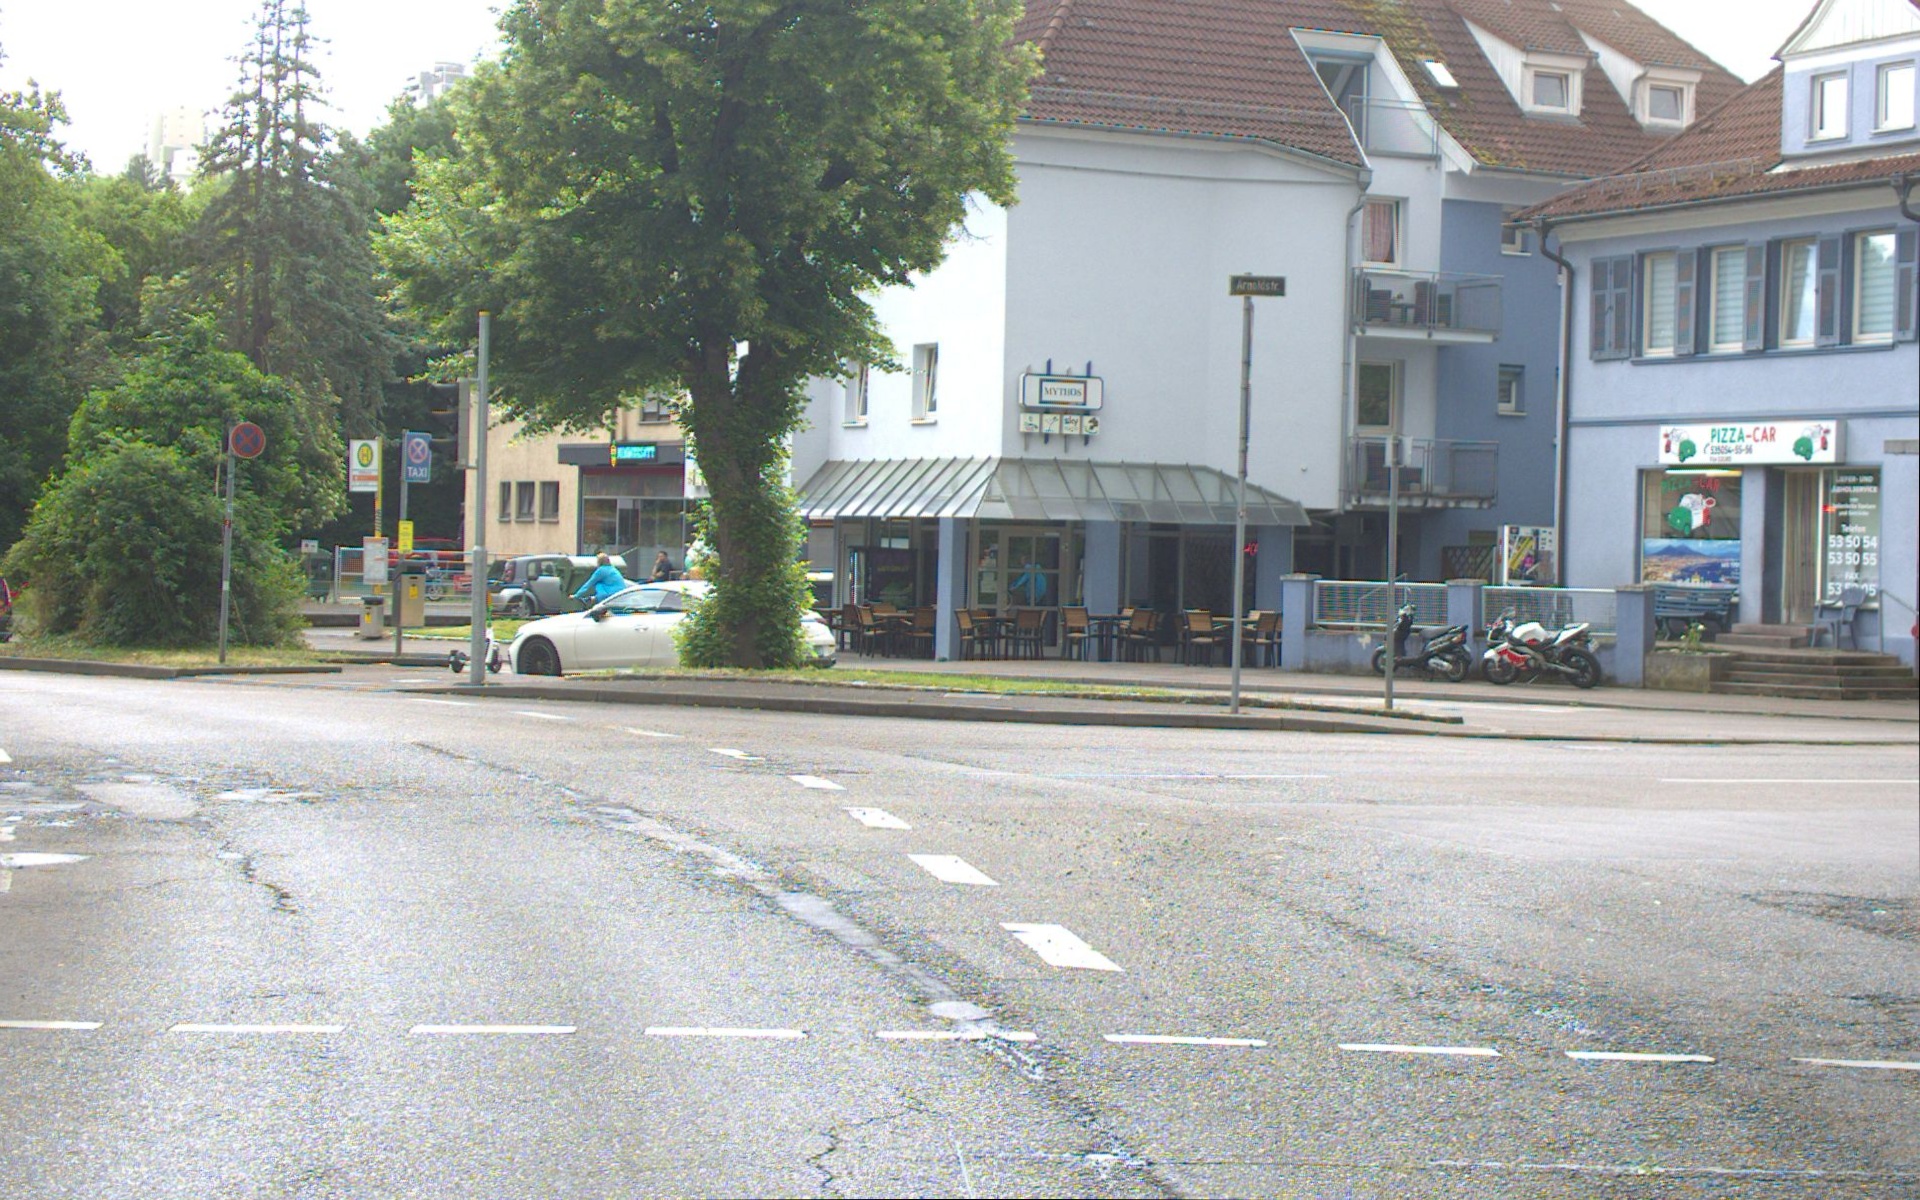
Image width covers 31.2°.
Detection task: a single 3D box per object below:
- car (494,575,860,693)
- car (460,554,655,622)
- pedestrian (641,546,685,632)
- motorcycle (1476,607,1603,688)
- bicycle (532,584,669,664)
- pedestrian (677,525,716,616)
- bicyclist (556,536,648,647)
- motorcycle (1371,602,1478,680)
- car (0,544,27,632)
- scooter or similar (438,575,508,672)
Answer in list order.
[{"bbox_3d":[-3.803,0.421,45.761,4.709,1.405,1.898,2,1,35],"label":"car"},{"bbox_3d":[-8.856,-0.271,75.629,3.936,1.437,1.753,1,1,-20],"label":"car"},{"bbox_3d":[-6.992,-0.260,80.859,0.837,2.007,1.056,1,1,-14],"label":"pedestrian"},{"bbox_3d":[8.151,0.664,48.365,1.628,1.085,0.626,1,1,32],"label":"motorcycle"},{"bbox_3d":[-5.440,0.352,51.994,1.950,1.145,0.874,2,1,34],"label":"bicycle"},{"bbox_3d":[-4.532,-0.503,59.183,0.543,1.554,0.467,0,0,13],"label":"pedestrian"},{"bbox_3d":[-5.409,-0.129,51.958,0.987,1.646,0.916,1,1,34],"label":"bicyclist"},{"bbox_3d":[6.775,0.592,50.134,1.458,1.085,0.523,1,1,35],"label":"motorcycle"},{"bbox_3d":[-16.418,-0.219,53.520,3.322,1.347,1.778,1,1,27],"label":"car"},{"bbox_3d":[-6.028,0.283,42.616,0.442,1.171,1.437,1,1,9],"label":"scooter or similar"}]
